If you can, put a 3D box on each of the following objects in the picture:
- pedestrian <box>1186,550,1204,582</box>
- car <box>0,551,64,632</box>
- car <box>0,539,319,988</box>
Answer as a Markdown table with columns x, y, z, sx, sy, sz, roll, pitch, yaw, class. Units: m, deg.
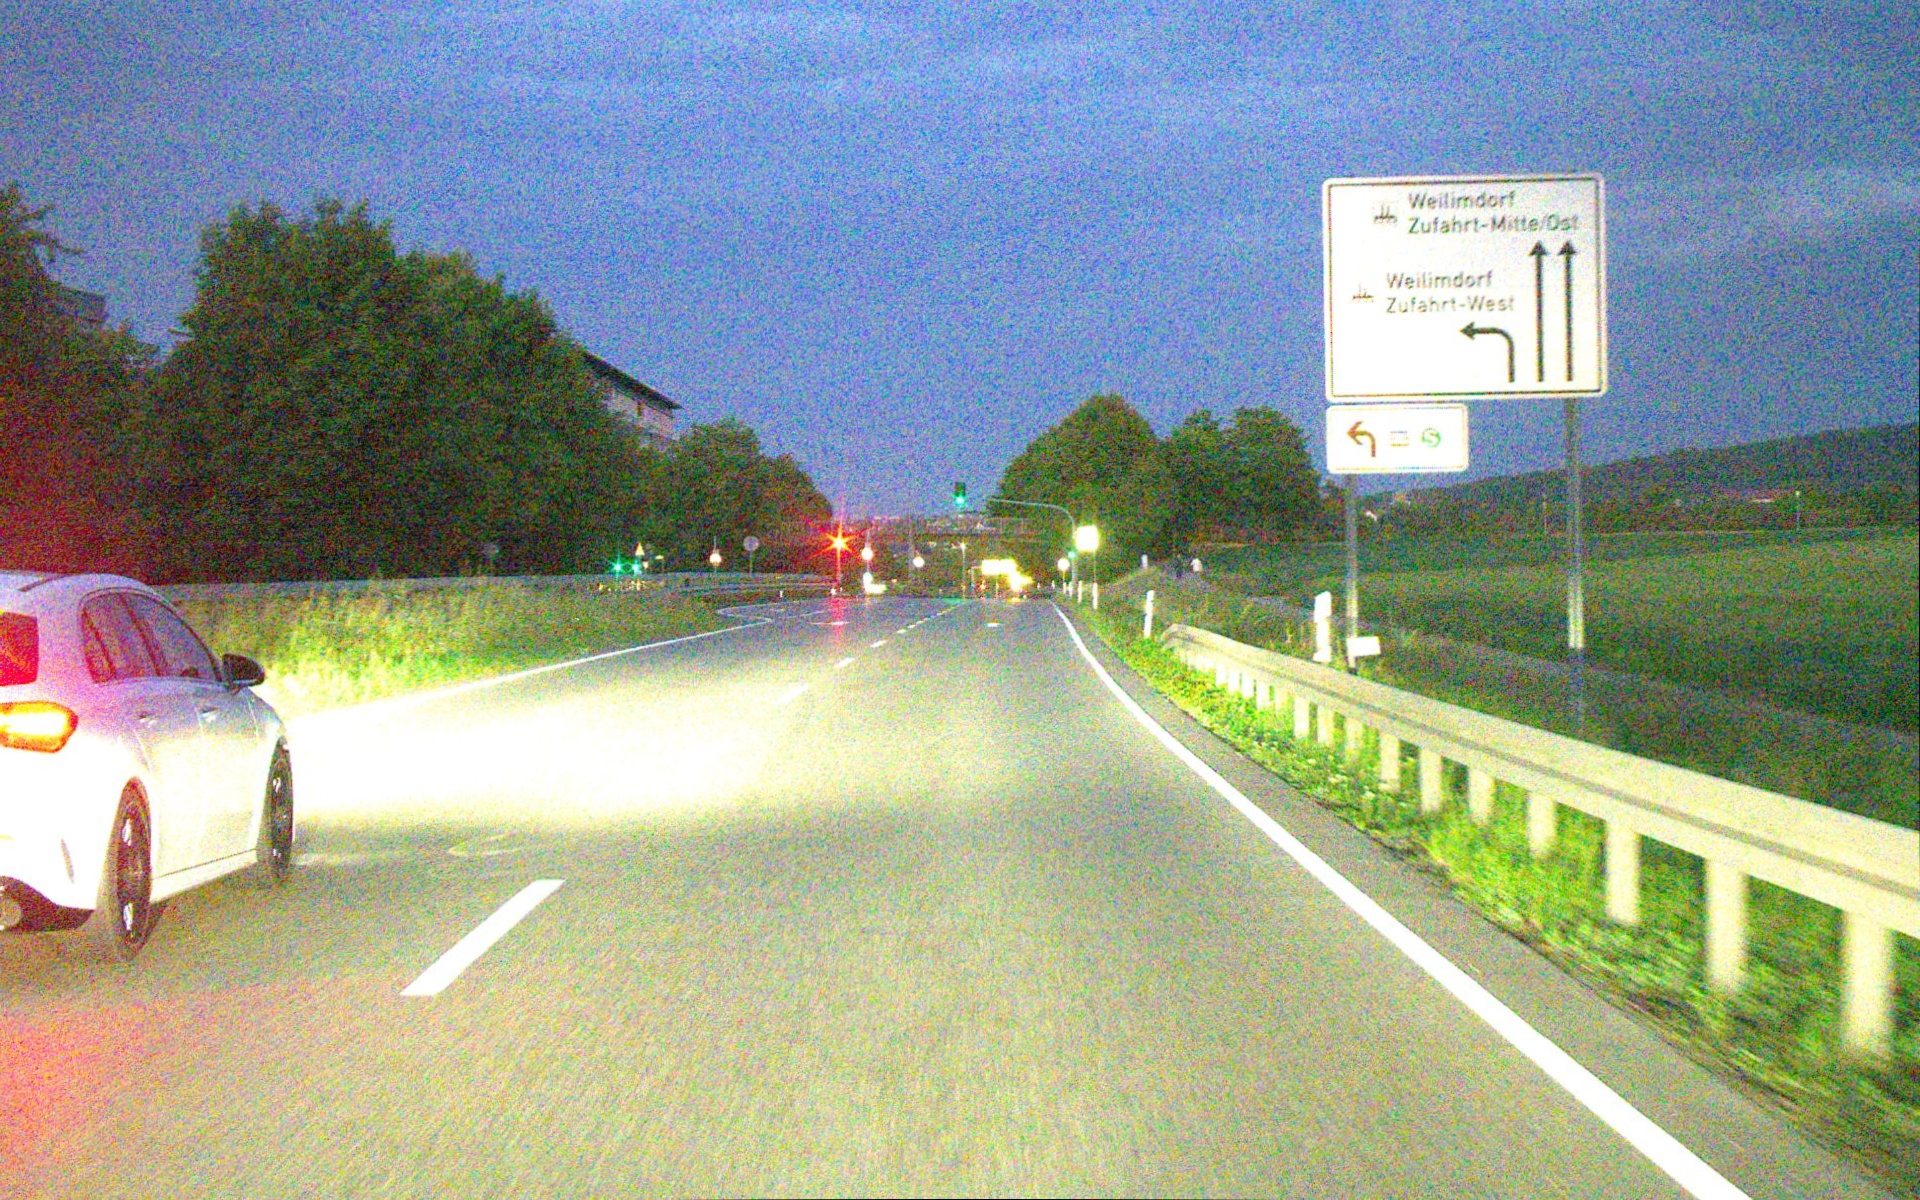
| x | y | z | sx | sy | sz | roll | pitch | yaw | class |
| --- | --- | --- | --- | --- | --- | --- | --- | --- | --- |
| 13.086 | -1.883 | 191.457 | 0.922 | 1.787 | 1.106 | 1 | 1 | 1 | pedestrian |
| -16.491 | -0.165 | 58.077 | 1.629 | 1.318 | 3.940 | 1 | 1 | 1 | car |
| -3.775 | 0.501 | 13.658 | 1.642 | 1.485 | 4.580 | 1 | 1 | -1 | car |
